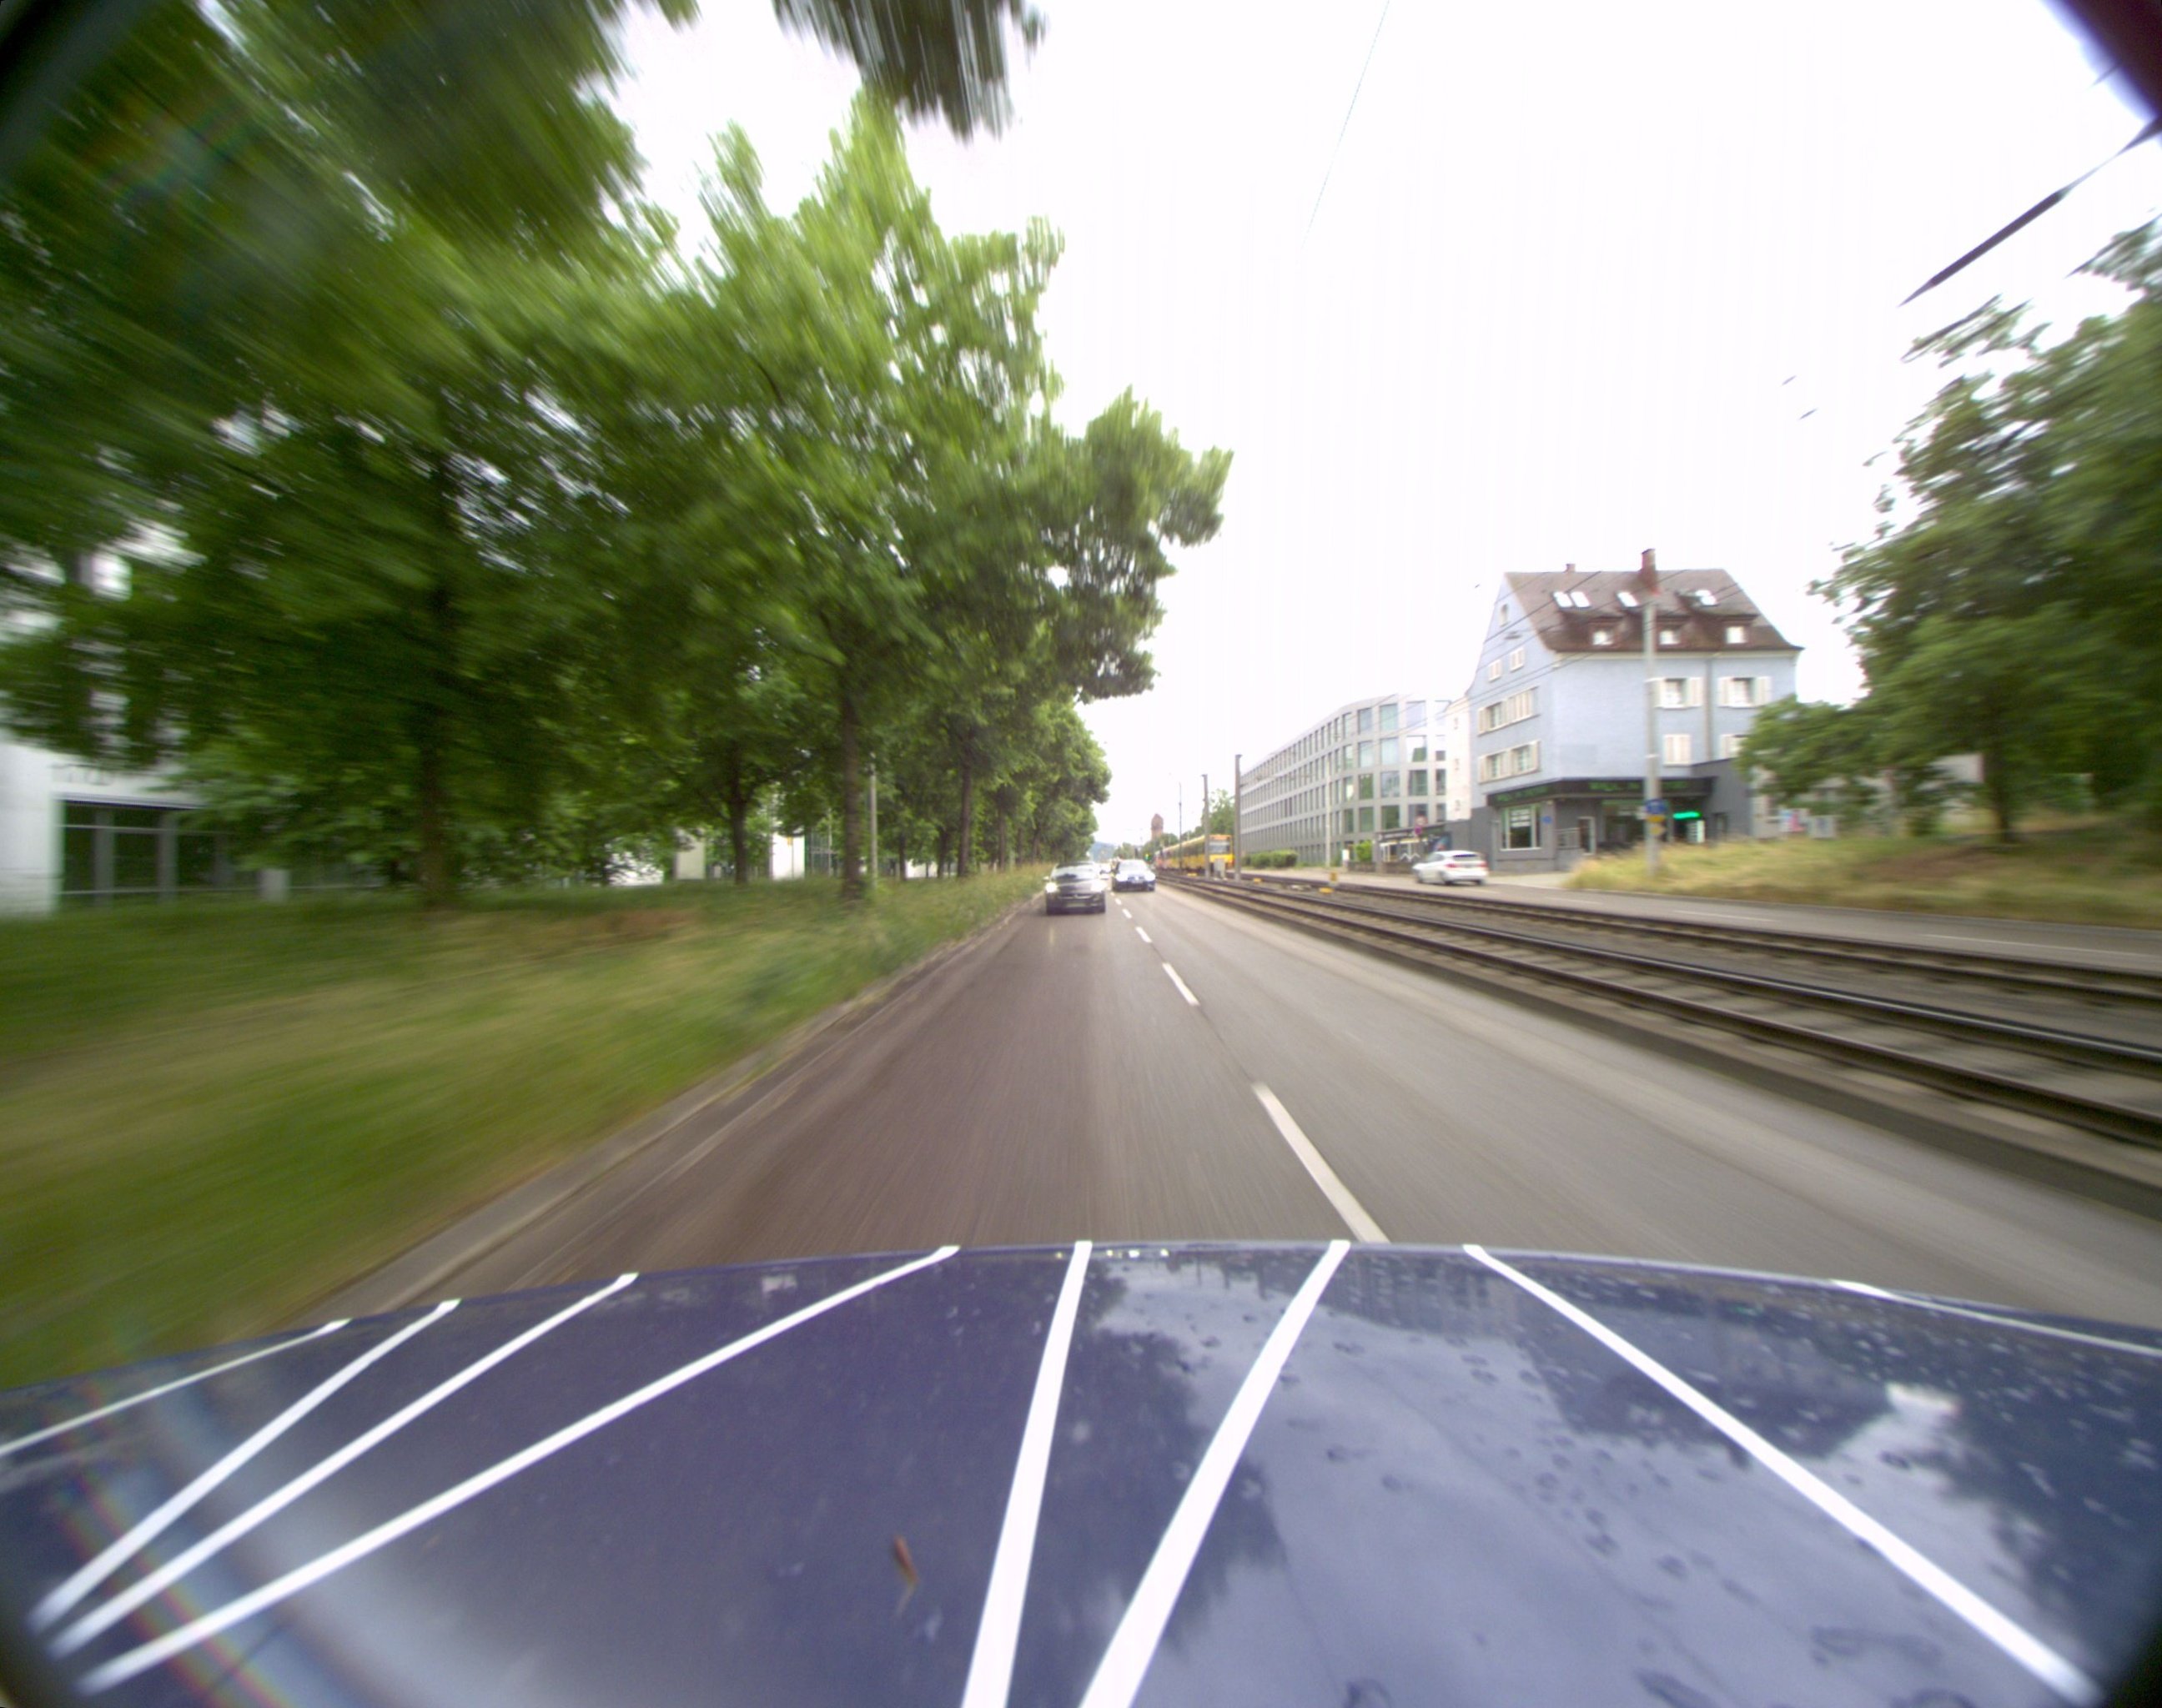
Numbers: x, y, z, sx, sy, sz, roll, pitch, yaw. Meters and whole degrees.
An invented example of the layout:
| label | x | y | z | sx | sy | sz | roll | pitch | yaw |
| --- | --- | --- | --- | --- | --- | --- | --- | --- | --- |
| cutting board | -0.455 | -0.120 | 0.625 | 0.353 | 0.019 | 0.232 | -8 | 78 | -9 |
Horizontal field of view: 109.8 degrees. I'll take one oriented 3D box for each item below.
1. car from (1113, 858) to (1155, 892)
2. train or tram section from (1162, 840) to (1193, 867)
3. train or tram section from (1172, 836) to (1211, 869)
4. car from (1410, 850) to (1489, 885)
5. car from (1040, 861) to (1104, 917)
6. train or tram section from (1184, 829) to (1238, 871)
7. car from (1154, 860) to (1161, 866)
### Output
| label | x | y | z | sx | sy | sz | roll | pitch | yaw |
| --- | --- | --- | --- | --- | --- | --- | --- | --- | --- |
| car | 2.446 | 0.953 | 35.761 | 1.770 | 1.439 | 3.833 | -1 | 0 | 1 |
| train or tram section | 14.694 | 0.030 | 117.017 | 2.974 | 3.788 | 18.618 | -1 | -1 | 2 |
| train or tram section | 14.020 | -0.134 | 98.343 | 2.974 | 3.788 | 19.102 | -1 | -1 | 2 |
| car | 17.132 | 0.602 | 35.551 | 1.657 | 1.520 | 4.381 | -1 | 0 | 1 |
| car | -0.170 | 0.987 | 23.191 | 1.698 | 1.439 | 4.420 | -3 | 0 | 2 |
| train or tram section | 13.160 | -0.299 | 78.838 | 2.974 | 3.788 | 19.524 | -1 | -1 | 2 |
| car | 25.016 | 2.969 | 247.882 | 1.812 | 1.627 | 3.564 | -1 | -1 | 1 |
